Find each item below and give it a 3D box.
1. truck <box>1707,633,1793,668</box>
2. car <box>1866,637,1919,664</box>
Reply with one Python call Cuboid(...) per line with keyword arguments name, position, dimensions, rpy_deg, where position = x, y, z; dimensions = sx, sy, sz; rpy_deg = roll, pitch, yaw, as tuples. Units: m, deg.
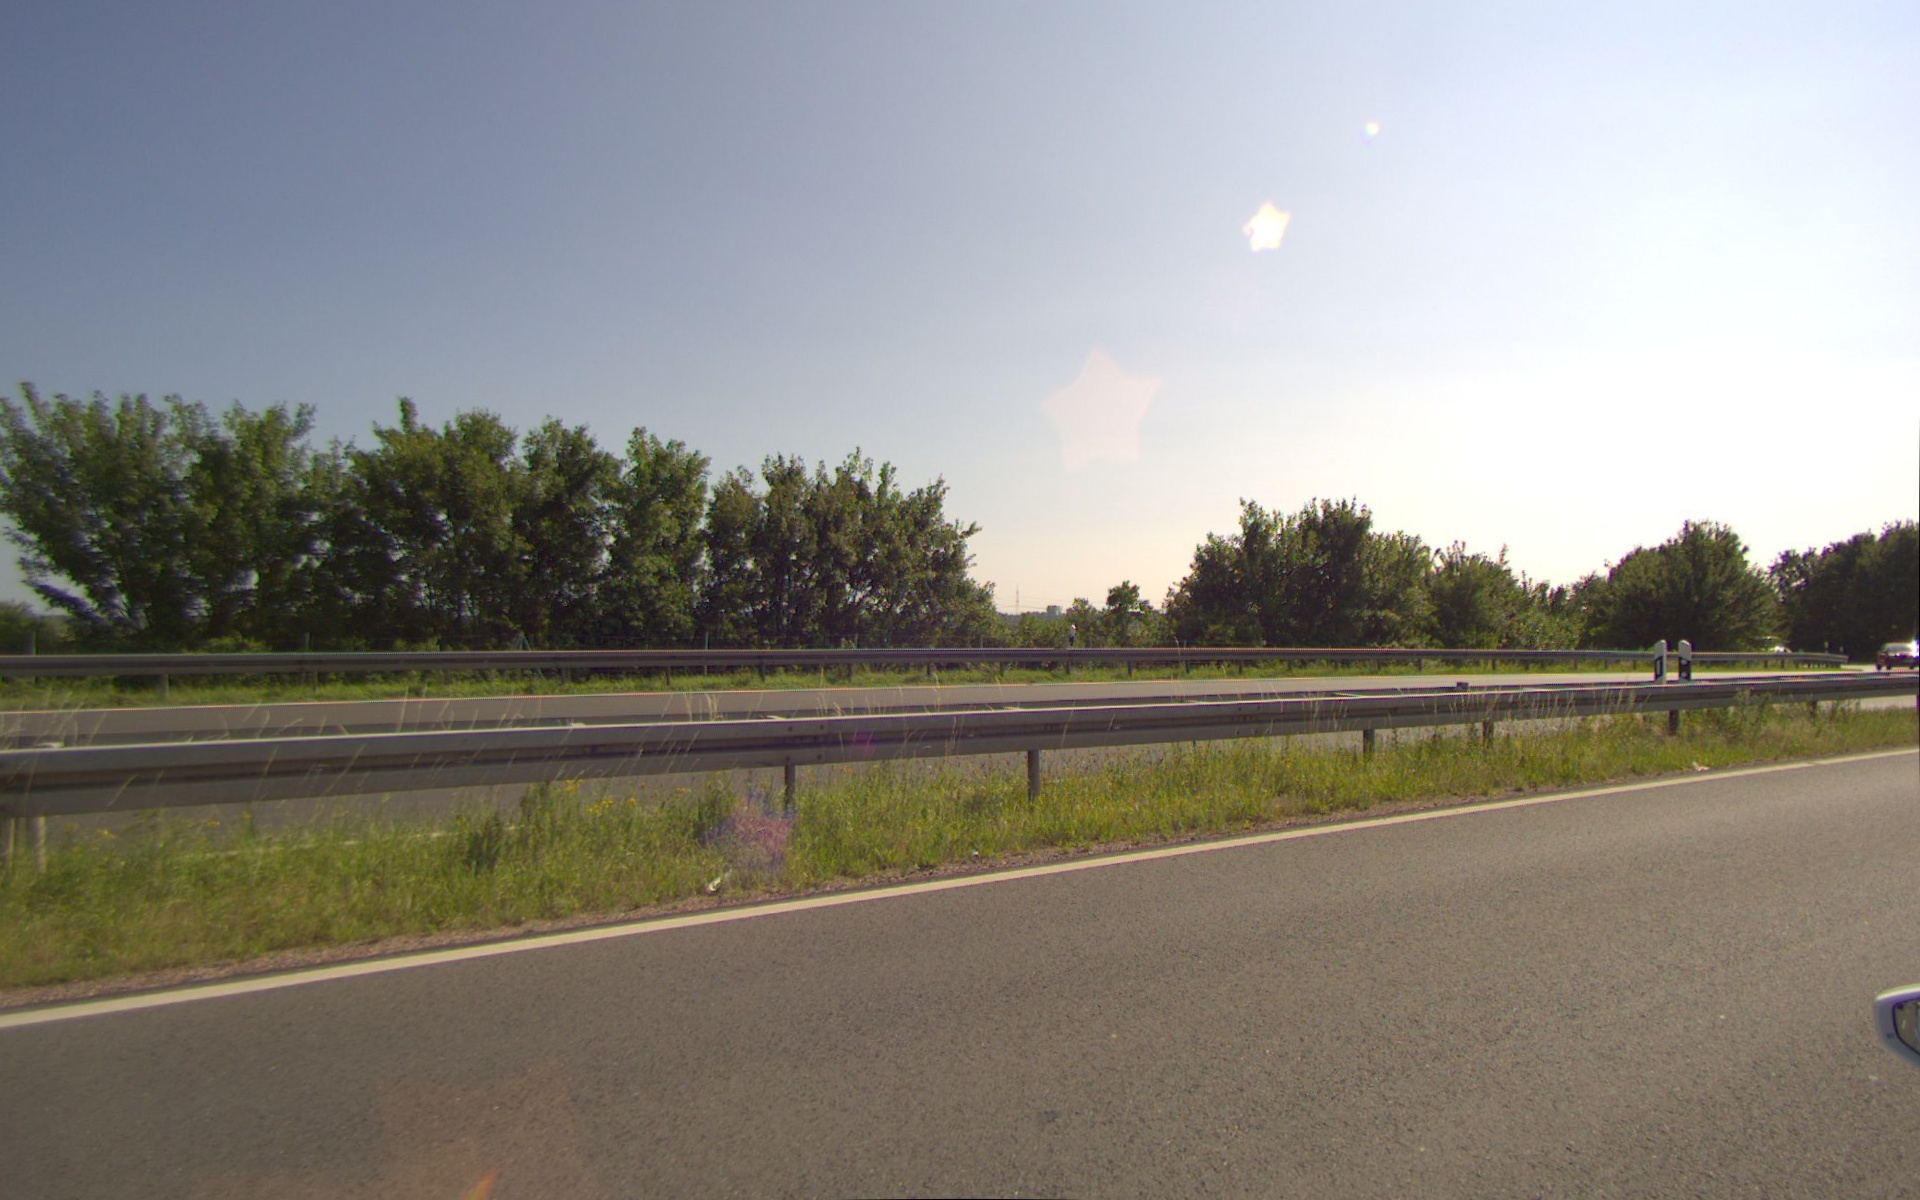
Cuboid(name="truck", position=(60.507, 3.904, 77.132), dimensions=(2.090, 2.485, 6.623), rpy_deg=(-1, -3, 8))
Cuboid(name="car", position=(53.879, 2.907, 57.961), dimensions=(1.760, 1.465, 3.989), rpy_deg=(-1, -2, 33))
